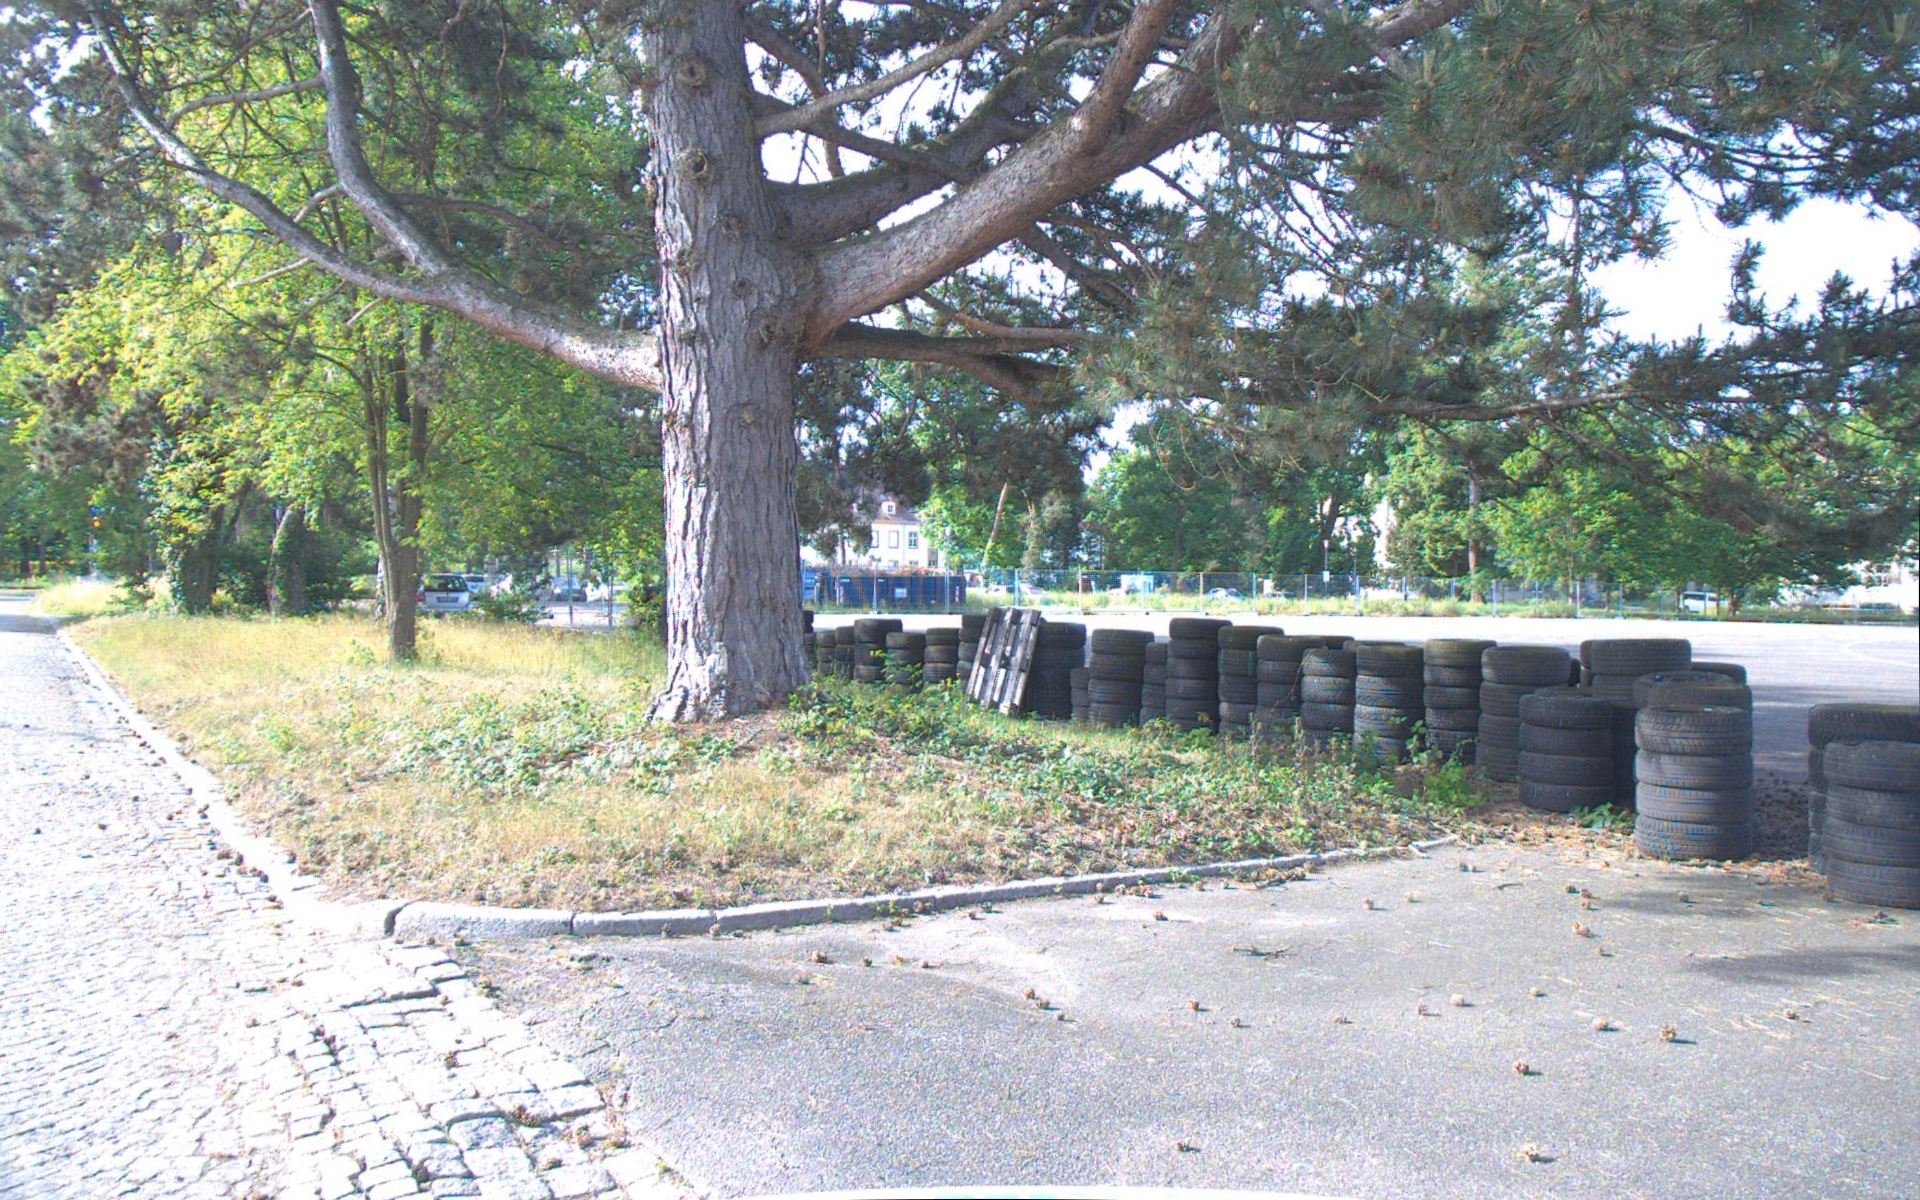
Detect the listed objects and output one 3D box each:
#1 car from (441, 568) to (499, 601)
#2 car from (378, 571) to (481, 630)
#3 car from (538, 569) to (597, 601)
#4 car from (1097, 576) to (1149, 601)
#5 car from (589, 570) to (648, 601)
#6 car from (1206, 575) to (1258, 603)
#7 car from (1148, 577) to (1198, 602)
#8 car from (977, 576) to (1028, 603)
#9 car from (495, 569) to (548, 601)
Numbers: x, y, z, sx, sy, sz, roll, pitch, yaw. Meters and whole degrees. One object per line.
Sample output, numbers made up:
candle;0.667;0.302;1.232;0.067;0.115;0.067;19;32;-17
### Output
car;-24.797;-0.792;83.623;1.973;1.646;3.960;0;1;-30
car;-14.894;-0.015;46.318;1.868;1.568;3.957;1;1;-32
car;-20.630;-0.781;86.760;1.973;1.646;3.960;0;1;-30
car;11.695;-0.825;118.918;1.968;1.780;3.970;0;1;-24
car;-18.291;-0.781;88.520;1.973;1.646;3.960;0;1;-30
car;20.382;-0.844;124.193;1.968;2.049;3.969;0;1;-25
car;15.618;-0.793;121.448;1.966;1.780;3.972;0;1;-23
car;2.884;-0.750;113.869;1.968;1.780;3.968;0;1;-25
car;-22.636;-0.781;85.221;1.800;1.646;3.963;0;1;-28
